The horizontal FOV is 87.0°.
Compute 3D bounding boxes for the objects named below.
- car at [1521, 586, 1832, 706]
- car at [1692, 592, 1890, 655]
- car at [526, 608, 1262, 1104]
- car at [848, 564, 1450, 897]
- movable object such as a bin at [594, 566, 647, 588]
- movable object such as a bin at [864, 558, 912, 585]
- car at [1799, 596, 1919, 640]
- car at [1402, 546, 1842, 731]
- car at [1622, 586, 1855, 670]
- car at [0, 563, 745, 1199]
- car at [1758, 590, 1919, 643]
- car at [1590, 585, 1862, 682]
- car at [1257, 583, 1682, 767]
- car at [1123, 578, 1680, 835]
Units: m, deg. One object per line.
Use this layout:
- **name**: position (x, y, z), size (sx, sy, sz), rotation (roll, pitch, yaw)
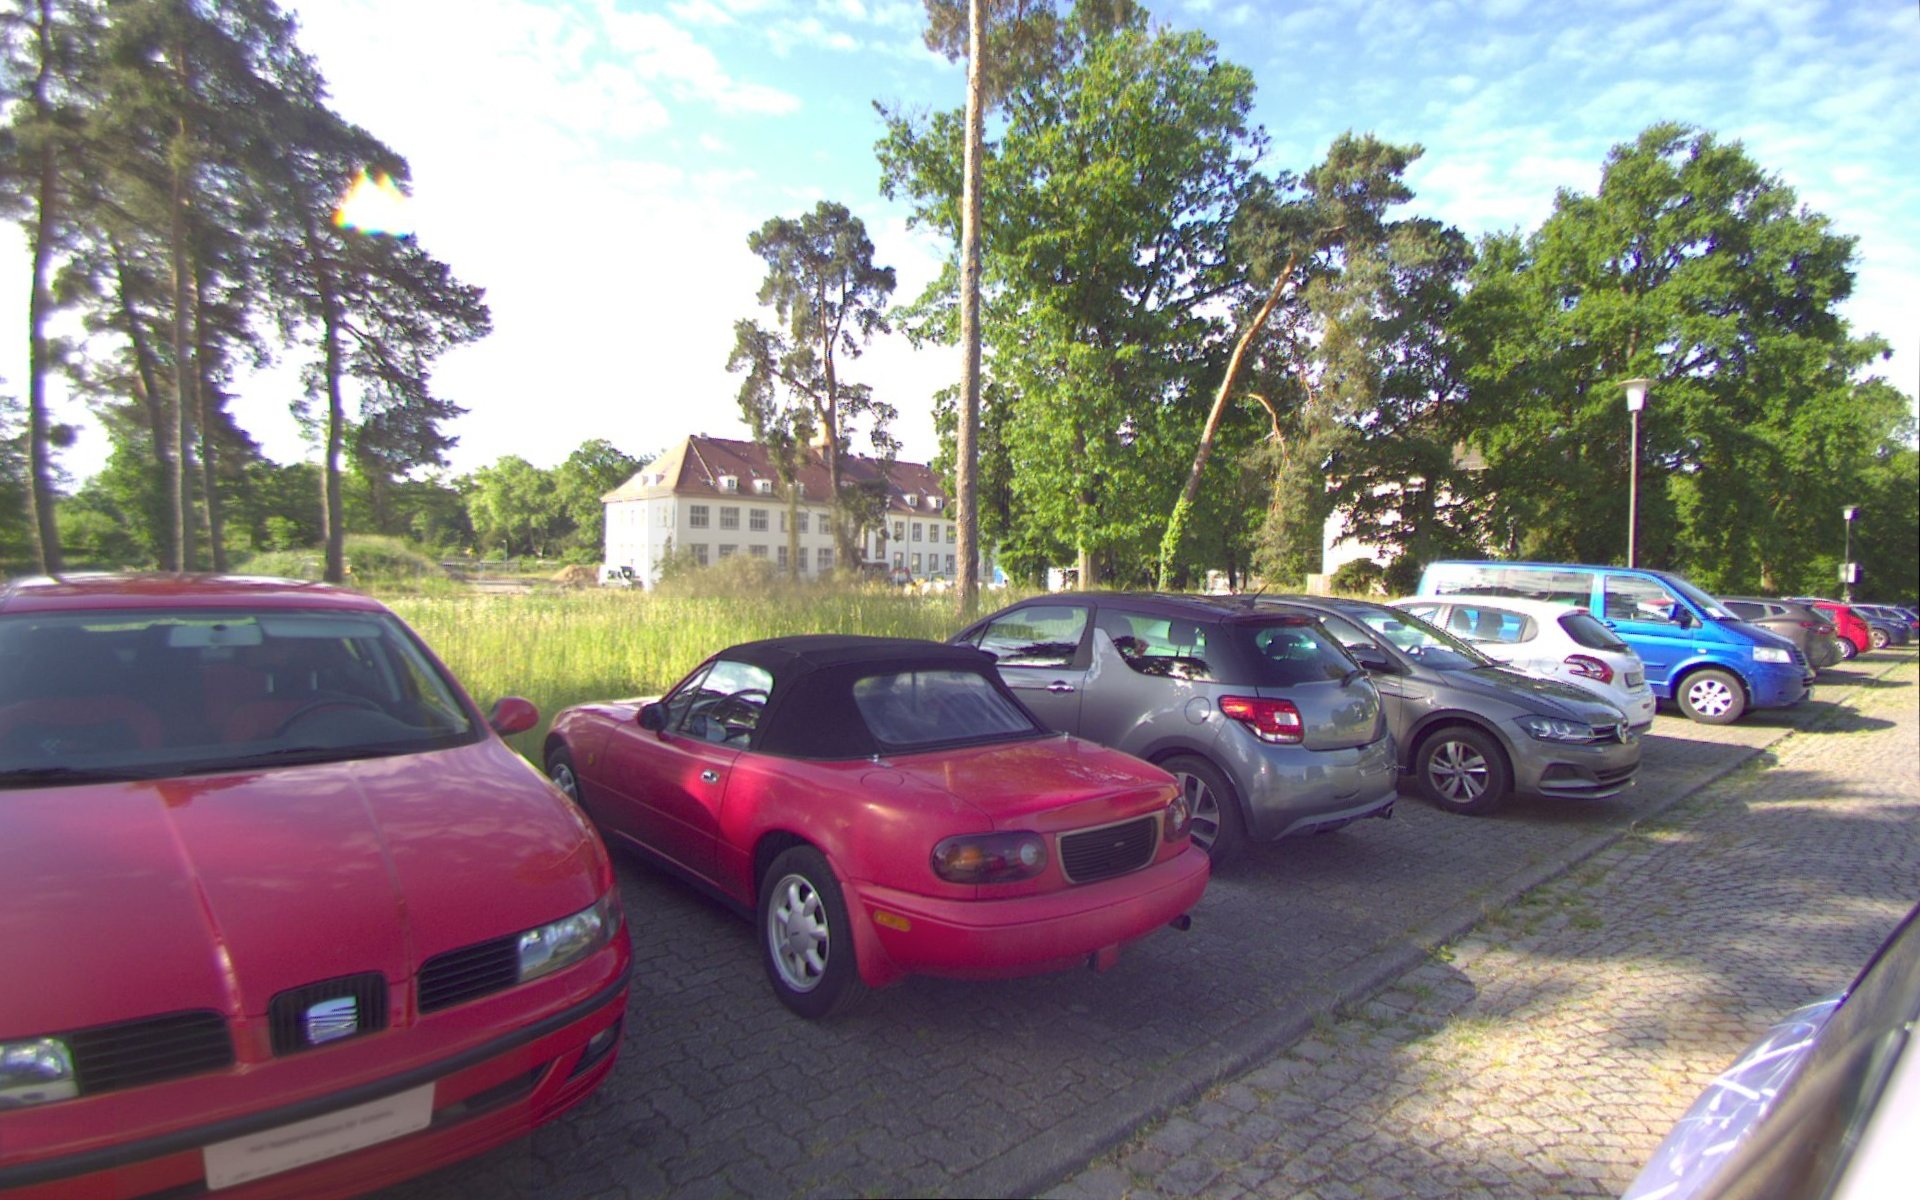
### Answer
- **car**: position (11.082, 0.616, 15.821), size (1.584, 1.485, 3.723), rotation (0, 3, -45)
- **car**: position (22.427, 0.573, 27.421), size (1.514, 1.514, 3.991), rotation (0, 1, -43)
- **car**: position (-0.581, 0.723, 4.602), size (1.510, 1.258, 3.465), rotation (0, 1, -42)
- **car**: position (1.022, 0.579, 6.764), size (1.639, 1.472, 3.669), rotation (0, 3, -43)
- **movable object such as a bin**: position (-33.156, -2.276, 98.734), size (5.707, 2.038, 2.095), rotation (2, 2, 38)
- **movable object such as a bin**: position (-8.202, -3.229, 115.625), size (4.978, 2.937, 2.180), rotation (0, 1, -37)
- **car**: position (33.540, 0.633, 37.291), size (1.717, 1.484, 3.805), rotation (0, 1, -42)
- **car**: position (9.054, 0.362, 14.214), size (1.966, 2.038, 4.762), rotation (0, 3, -43)
- **car**: position (17.106, 0.540, 22.368), size (1.674, 1.557, 3.831), rotation (0, 2, -42)
- **car**: position (-2.505, 0.658, 3.436), size (1.628, 1.466, 3.984), rotation (0, 2, -43)
- **car**: position (29.865, 0.508, 34.277), size (1.624, 1.618, 4.267), rotation (0, 1, -43)
- **car**: position (15.260, 0.580, 20.313), size (1.757, 1.631, 4.110), rotation (0, 2, -44)
- **car**: position (5.185, 0.625, 10.637), size (1.606, 1.510, 3.650), rotation (0, 2, -42)
- **car**: position (3.389, 0.637, 8.312), size (1.727, 1.468, 3.788), rotation (0, 3, -41)
